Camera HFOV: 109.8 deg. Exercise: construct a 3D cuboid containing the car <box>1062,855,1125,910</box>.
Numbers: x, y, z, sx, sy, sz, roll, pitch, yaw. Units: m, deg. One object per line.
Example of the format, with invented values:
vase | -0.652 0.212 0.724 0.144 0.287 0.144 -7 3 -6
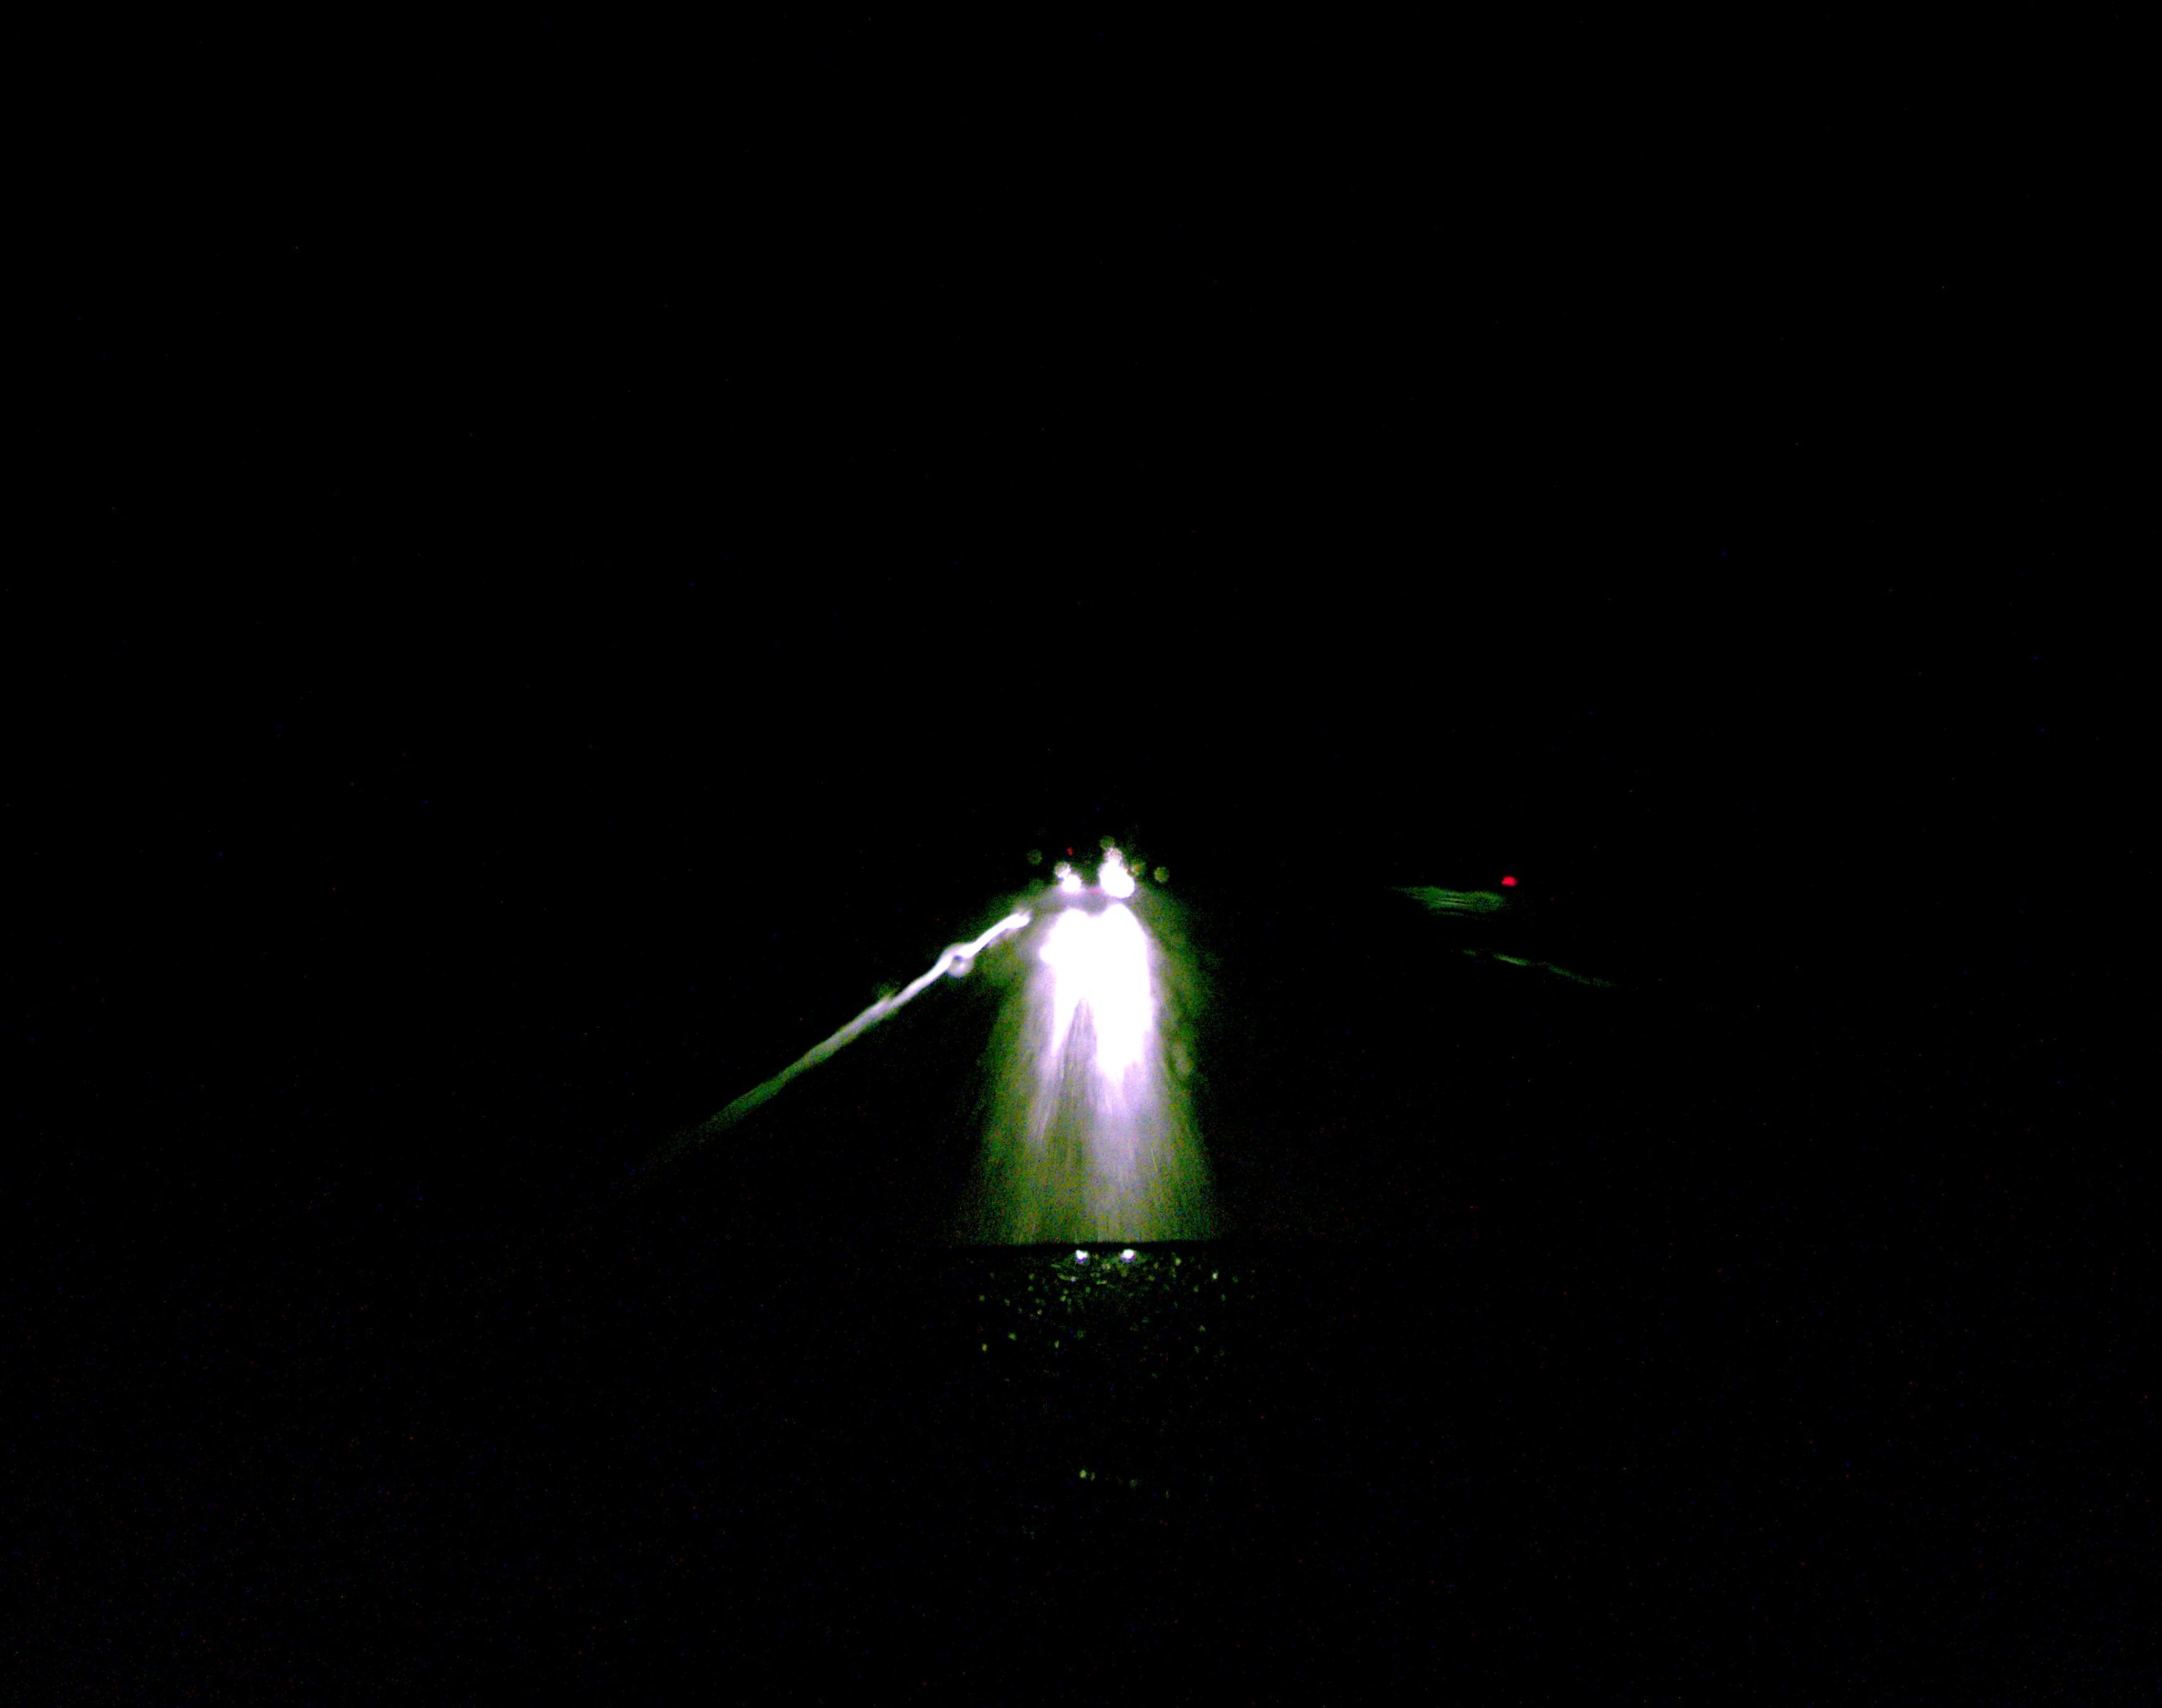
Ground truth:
car | 0.444 0.884 25.369 1.862 1.601 4.420 -2 0 2
